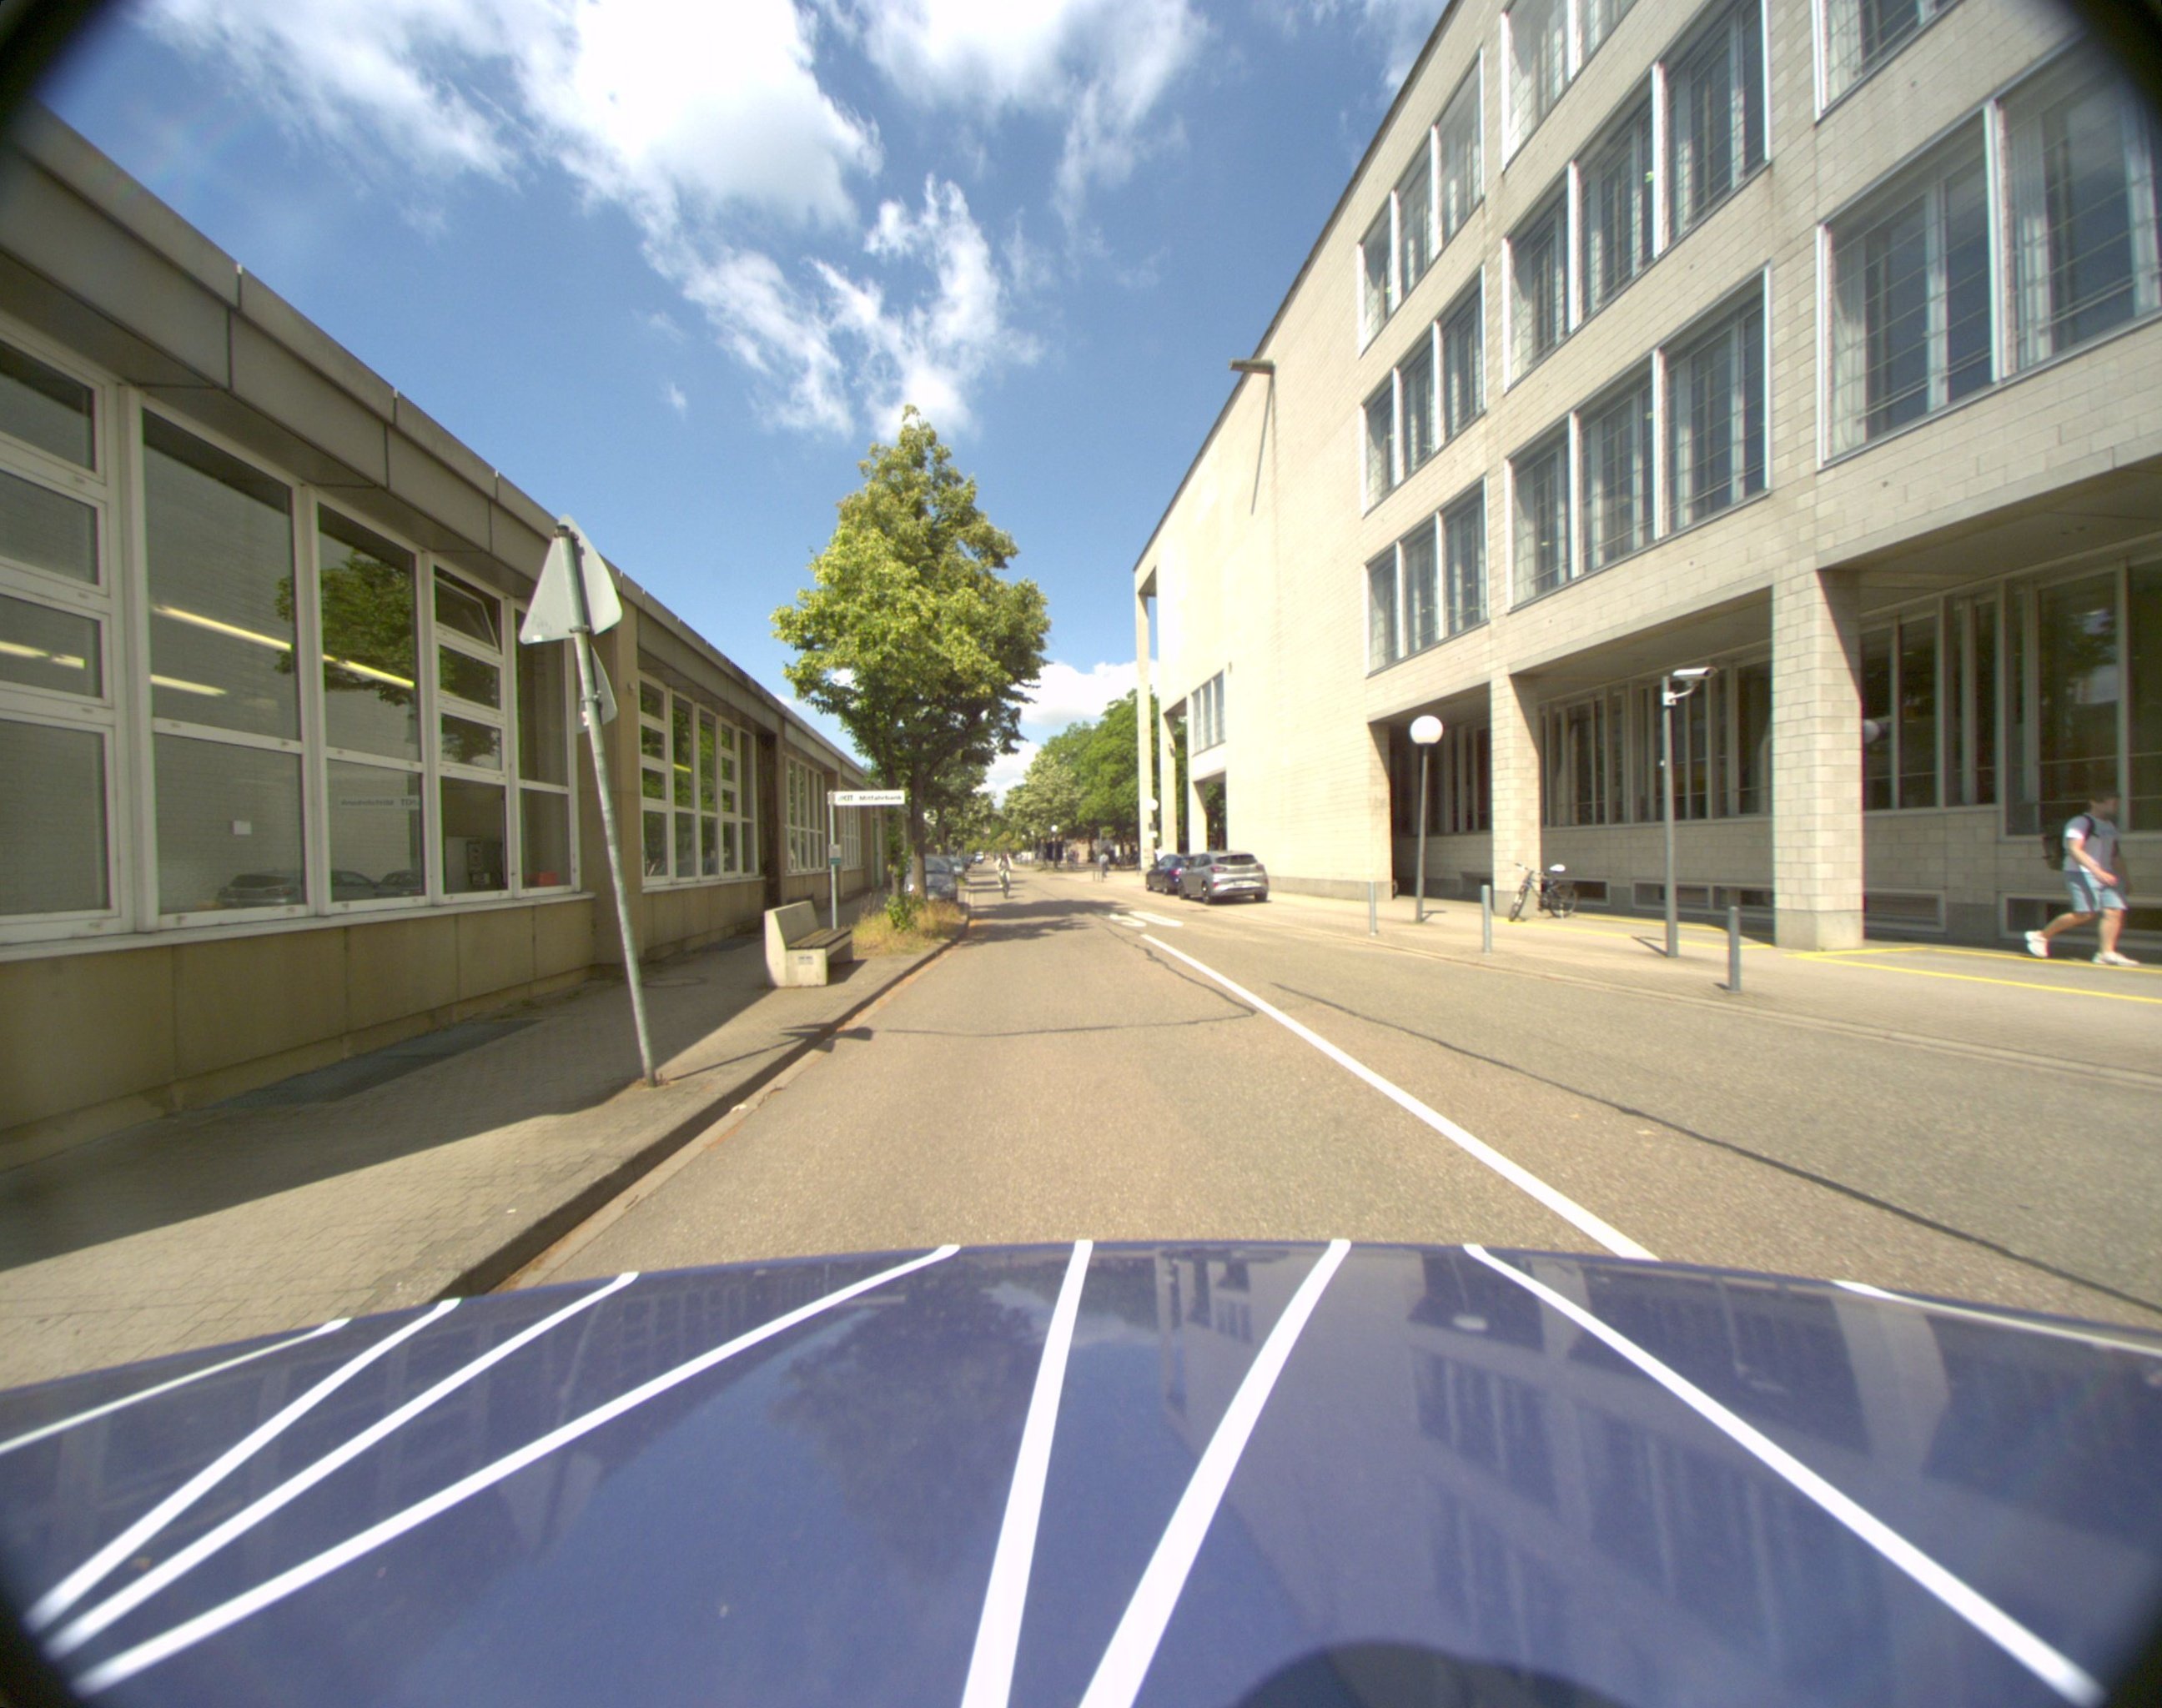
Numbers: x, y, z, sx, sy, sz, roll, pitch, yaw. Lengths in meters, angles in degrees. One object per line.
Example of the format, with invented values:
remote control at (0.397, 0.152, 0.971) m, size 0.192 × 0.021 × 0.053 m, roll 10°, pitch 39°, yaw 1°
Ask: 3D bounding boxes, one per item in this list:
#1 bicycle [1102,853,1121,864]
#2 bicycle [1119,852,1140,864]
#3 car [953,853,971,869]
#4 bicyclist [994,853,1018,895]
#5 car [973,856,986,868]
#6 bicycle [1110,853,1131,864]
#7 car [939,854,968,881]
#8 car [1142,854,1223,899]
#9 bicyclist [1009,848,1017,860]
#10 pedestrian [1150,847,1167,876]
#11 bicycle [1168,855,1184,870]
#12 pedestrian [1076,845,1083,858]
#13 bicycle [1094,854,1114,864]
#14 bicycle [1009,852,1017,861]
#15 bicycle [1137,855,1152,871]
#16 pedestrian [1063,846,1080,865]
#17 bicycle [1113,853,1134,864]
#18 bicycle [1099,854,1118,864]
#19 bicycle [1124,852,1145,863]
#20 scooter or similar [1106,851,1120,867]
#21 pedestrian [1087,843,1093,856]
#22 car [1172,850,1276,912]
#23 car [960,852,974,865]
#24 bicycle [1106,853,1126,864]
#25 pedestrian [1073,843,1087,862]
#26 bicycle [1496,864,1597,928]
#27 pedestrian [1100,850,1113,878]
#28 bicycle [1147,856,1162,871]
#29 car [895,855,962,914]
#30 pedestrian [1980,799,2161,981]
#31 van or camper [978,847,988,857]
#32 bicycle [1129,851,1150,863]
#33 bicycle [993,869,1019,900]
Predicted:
bicycle at (3.232, 0.510, 80.749) m, size 2.128 × 1.052 × 0.621 m, roll -3°, pitch 1°, yaw -37°
bicycle at (5.007, 0.383, 78.069) m, size 2.128 × 1.100 × 0.681 m, roll -3°, pitch 1°, yaw -37°
car at (-11.580, 0.673, 73.781) m, size 1.650 × 1.484 × 3.812 m, roll 0°, pitch 1°, yaw -9°
bicyclist at (-2.732, 0.728, 27.515) m, size 0.781 × 1.478 × 0.695 m, roll -1°, pitch 1°, yaw -10°
car at (-17.077, 1.333, 127.650) m, size 2.000 × 1.805 × 3.997 m, roll -1°, pitch 0°, yaw -7°
bicycle at (4.146, 0.445, 79.617) m, size 2.128 × 1.052 × 0.681 m, roll -3°, pitch 1°, yaw -37°
car at (-7.501, 0.784, 44.853) m, size 1.623 × 1.503 × 3.814 m, roll 1°, pitch 0°, yaw -9°
car at (3.616, 0.764, 27.983) m, size 1.731 × 1.414 × 4.661 m, roll -2°, pitch 1°, yaw -8°
bicyclist at (-10.203, -0.050, 113.310) m, size 1.054 × 1.690 × 1.281 m, roll -2°, pitch 1°, yaw -8°
pedestrian at (4.808, 0.439, 47.188) m, size 0.755 × 1.770 × 1.080 m, roll -2°, pitch 1°, yaw -9°
bicycle at (7.002, 0.589, 56.180) m, size 0.622 × 1.052 × 2.122 m, roll -2°, pitch 1°, yaw -9°
pedestrian at (-0.228, -0.380, 112.545) m, size 0.677 × 1.882 × 0.816 m, roll -1°, pitch 2°, yaw 32°
bicycle at (2.498, 0.542, 81.972) m, size 2.128 × 1.052 × 0.621 m, roll -3°, pitch 1°, yaw -37°
bicycle at (-10.167, 0.389, 113.390) m, size 1.012 × 1.169 × 3.391 m, roll -2°, pitch 1°, yaw -7°
bicycle at (4.658, 0.658, 55.738) m, size 0.509 × 1.100 × 1.999 m, roll -2°, pitch 1°, yaw -12°
pedestrian at (-0.960, 0.106, 76.020) m, size 1.401 × 1.814 × 1.368 m, roll -2°, pitch 1°, yaw -9°
bicycle at (4.407, 0.418, 78.871) m, size 2.128 × 1.052 × 0.681 m, roll -3°, pitch 1°, yaw -37°
bicycle at (2.959, 0.526, 81.364) m, size 2.128 × 1.052 × 0.621 m, roll -3°, pitch 1°, yaw -37°
bicycle at (5.475, 0.360, 77.484) m, size 2.128 × 1.100 × 0.681 m, roll -3°, pitch 1°, yaw -37°
scooter or similar at (2.582, 0.397, 61.218) m, size 0.713 × 1.184 × 1.616 m, roll -2°, pitch 2°, yaw 14°
pedestrian at (1.200, -0.622, 97.785) m, size 0.679 × 1.661 × 0.814 m, roll -2°, pitch 1°, yaw -2°
car at (4.200, 0.726, 23.077) m, size 1.731 × 1.526 × 4.401 m, roll -4°, pitch 1°, yaw -8°
car at (-13.383, 0.483, 89.053) m, size 1.650 × 1.484 × 3.812 m, roll 0°, pitch 1°, yaw -9°
bicycle at (3.671, 0.467, 80.212) m, size 2.128 × 1.052 × 0.681 m, roll -3°, pitch 1°, yaw -37°
pedestrian at (-0.117, -0.168, 85.696) m, size 1.401 × 2.002 × 1.368 m, roll -2°, pitch 1°, yaw -9°
bicycle at (8.705, 0.764, 14.225) m, size 1.644 × 1.080 × 0.607 m, roll -3°, pitch 1°, yaw -13°
pedestrian at (1.682, 0.662, 49.768) m, size 0.761 × 1.716 × 1.235 m, roll -4°, pitch 2°, yaw 3°
bicycle at (5.380, 0.698, 55.781) m, size 0.592 × 1.052 × 2.122 m, roll -2°, pitch 1°, yaw -9°
car at (-4.470, 0.840, 22.671) m, size 1.762 × 1.559 × 3.814 m, roll -1°, pitch 0°, yaw -9°
pedestrian at (10.747, 0.361, 8.244) m, size 0.779 × 1.828 × 1.013 m, roll -2°, pitch 1°, yaw -9°
van or camper at (-24.141, -0.482, 187.929) m, size 1.999 × 2.348 × 4.382 m, roll -1°, pitch 0°, yaw -2°
bicycle at (5.933, 0.293, 76.879) m, size 2.128 × 1.151 × 0.751 m, roll -3°, pitch 1°, yaw -37°
bicycle at (-2.721, 1.088, 27.528) m, size 0.781 × 1.042 × 1.911 m, roll -1°, pitch 0°, yaw -10°
